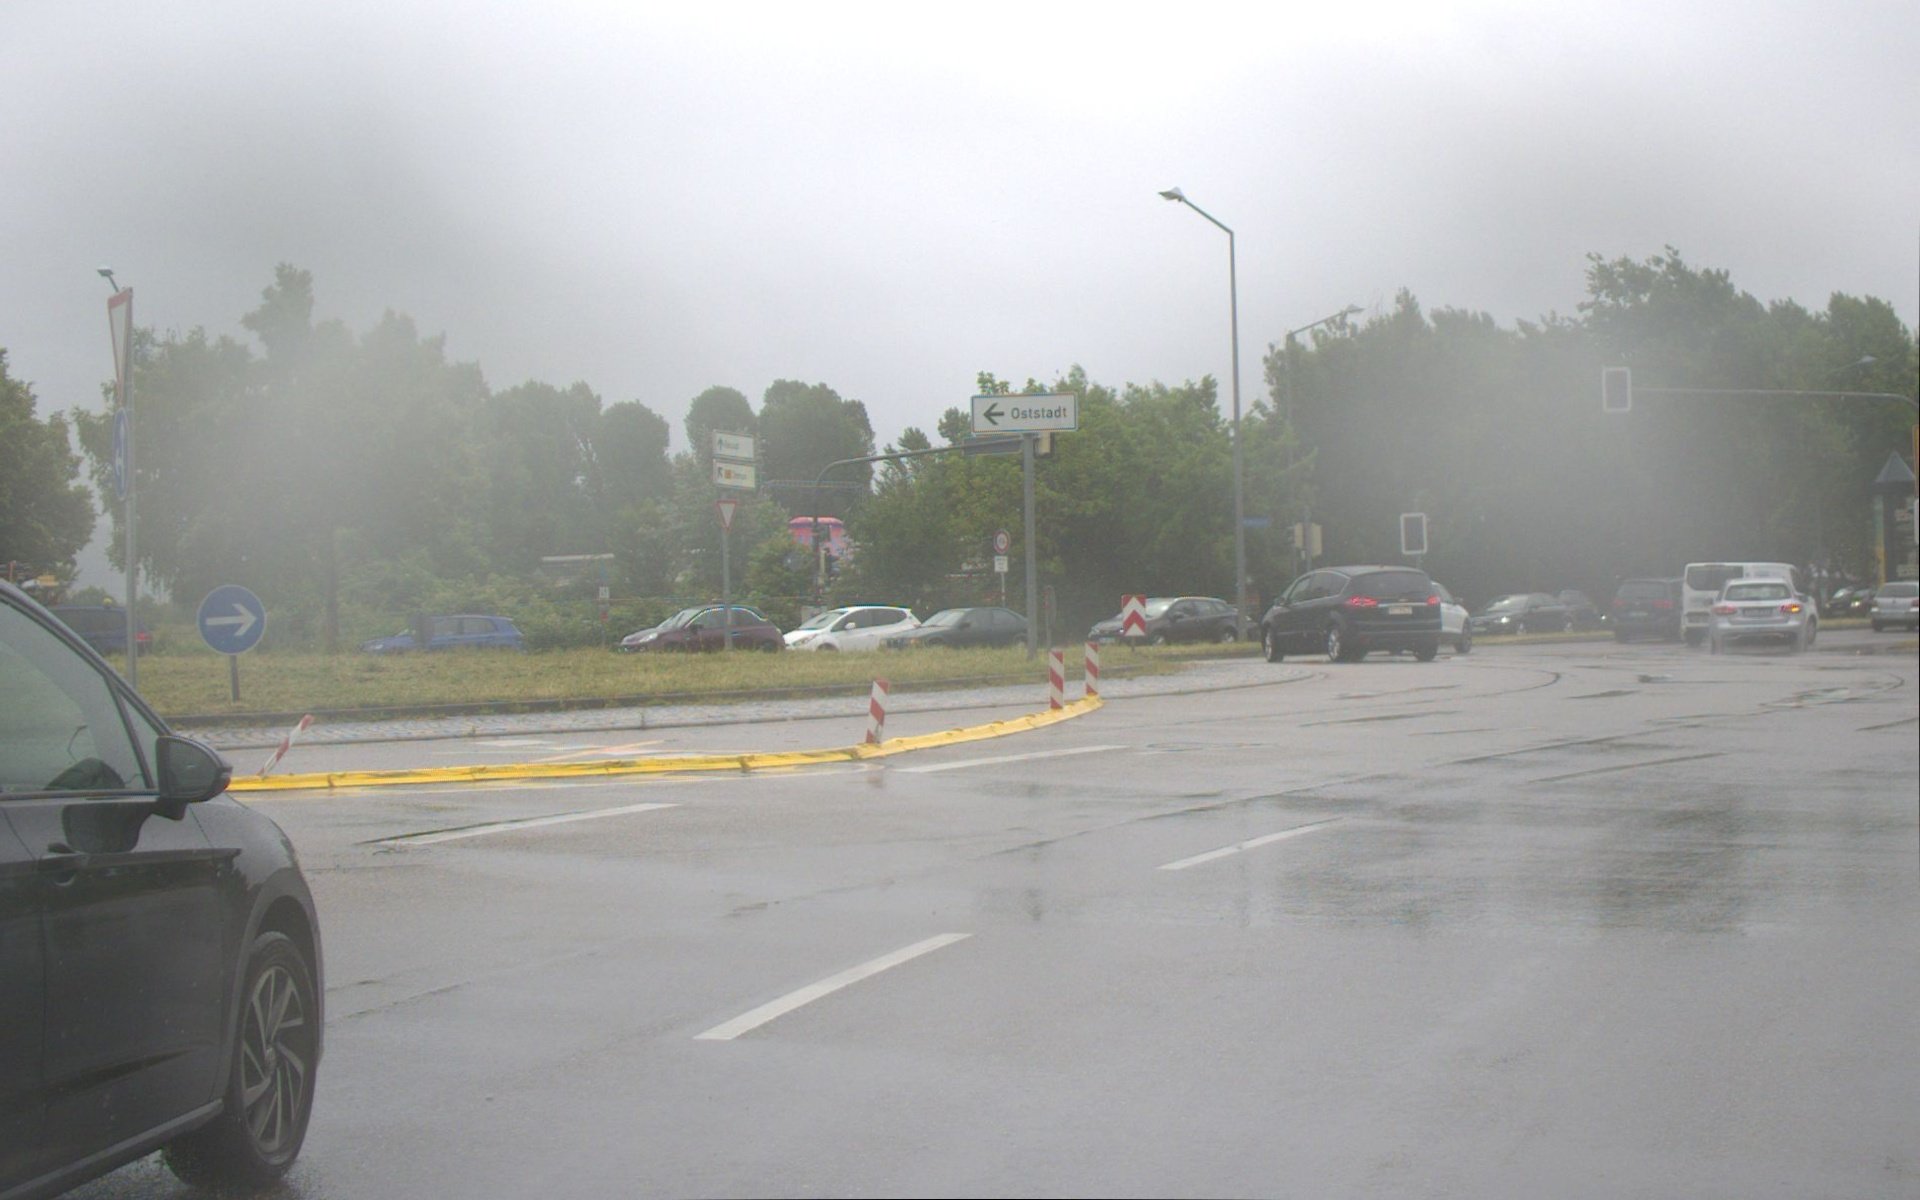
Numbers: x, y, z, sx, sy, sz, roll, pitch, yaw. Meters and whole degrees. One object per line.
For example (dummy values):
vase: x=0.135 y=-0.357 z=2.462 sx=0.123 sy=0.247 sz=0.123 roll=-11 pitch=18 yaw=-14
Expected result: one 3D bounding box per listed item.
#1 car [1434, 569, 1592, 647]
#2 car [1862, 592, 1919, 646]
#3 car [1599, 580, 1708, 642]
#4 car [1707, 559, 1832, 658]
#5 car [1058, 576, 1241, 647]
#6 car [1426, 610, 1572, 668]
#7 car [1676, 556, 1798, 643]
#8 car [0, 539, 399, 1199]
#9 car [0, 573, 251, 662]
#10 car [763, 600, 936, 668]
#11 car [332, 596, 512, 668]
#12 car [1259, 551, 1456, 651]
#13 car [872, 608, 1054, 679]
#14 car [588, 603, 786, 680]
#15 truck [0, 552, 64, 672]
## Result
car: x=11.998 y=0.183 z=74.434 sx=1.684 sy=1.642 sz=3.938 roll=1 pitch=0 yaw=37
car: x=27.167 y=0.529 z=98.795 sx=1.691 sy=1.487 sz=3.246 roll=-1 pitch=0 yaw=28
car: x=17.464 y=0.286 z=86.463 sx=1.692 sy=1.487 sz=3.245 roll=1 pitch=0 yaw=31
car: x=15.665 y=0.137 z=66.383 sx=1.785 sy=1.804 sz=4.833 roll=-1 pitch=0 yaw=20
car: x=4.562 y=0.287 z=82.674 sx=3.986 sy=1.642 sz=1.789 roll=1 pitch=0 yaw=-24
car: x=15.065 y=1.098 z=96.097 sx=3.987 sy=1.569 sz=1.676 roll=1 pitch=0 yaw=-36
car: x=18.678 y=0.005 z=82.533 sx=1.786 sy=2.029 sz=3.993 roll=1 pitch=0 yaw=29
car: x=-2.580 y=0.635 z=6.904 sx=1.783 sy=1.512 sz=4.331 roll=1 pitch=0 yaw=6
car: x=-17.085 y=0.360 z=70.097 sx=4.849 sy=1.738 sz=1.778 roll=1 pitch=0 yaw=-26
car: x=-2.776 y=0.861 z=86.640 sx=3.987 sy=1.642 sz=1.789 roll=1 pitch=0 yaw=-34
car: x=-12.818 y=0.763 z=81.909 sx=3.986 sy=1.642 sz=1.789 roll=1 pitch=0 yaw=-17
car: x=6.802 y=0.027 z=59.181 sx=1.783 sy=1.642 sz=4.001 roll=1 pitch=0 yaw=-19
car: x=0.073 y=1.051 z=83.034 sx=3.986 sy=1.642 sz=1.789 roll=1 pitch=0 yaw=-21
car: x=-6.029 y=0.913 z=75.764 sx=3.986 sy=1.642 sz=1.789 roll=1 pitch=0 yaw=-21
truck: x=-24.756 y=0.215 z=77.376 sx=8.766 sy=2.702 sz=2.001 roll=1 pitch=0 yaw=-17
